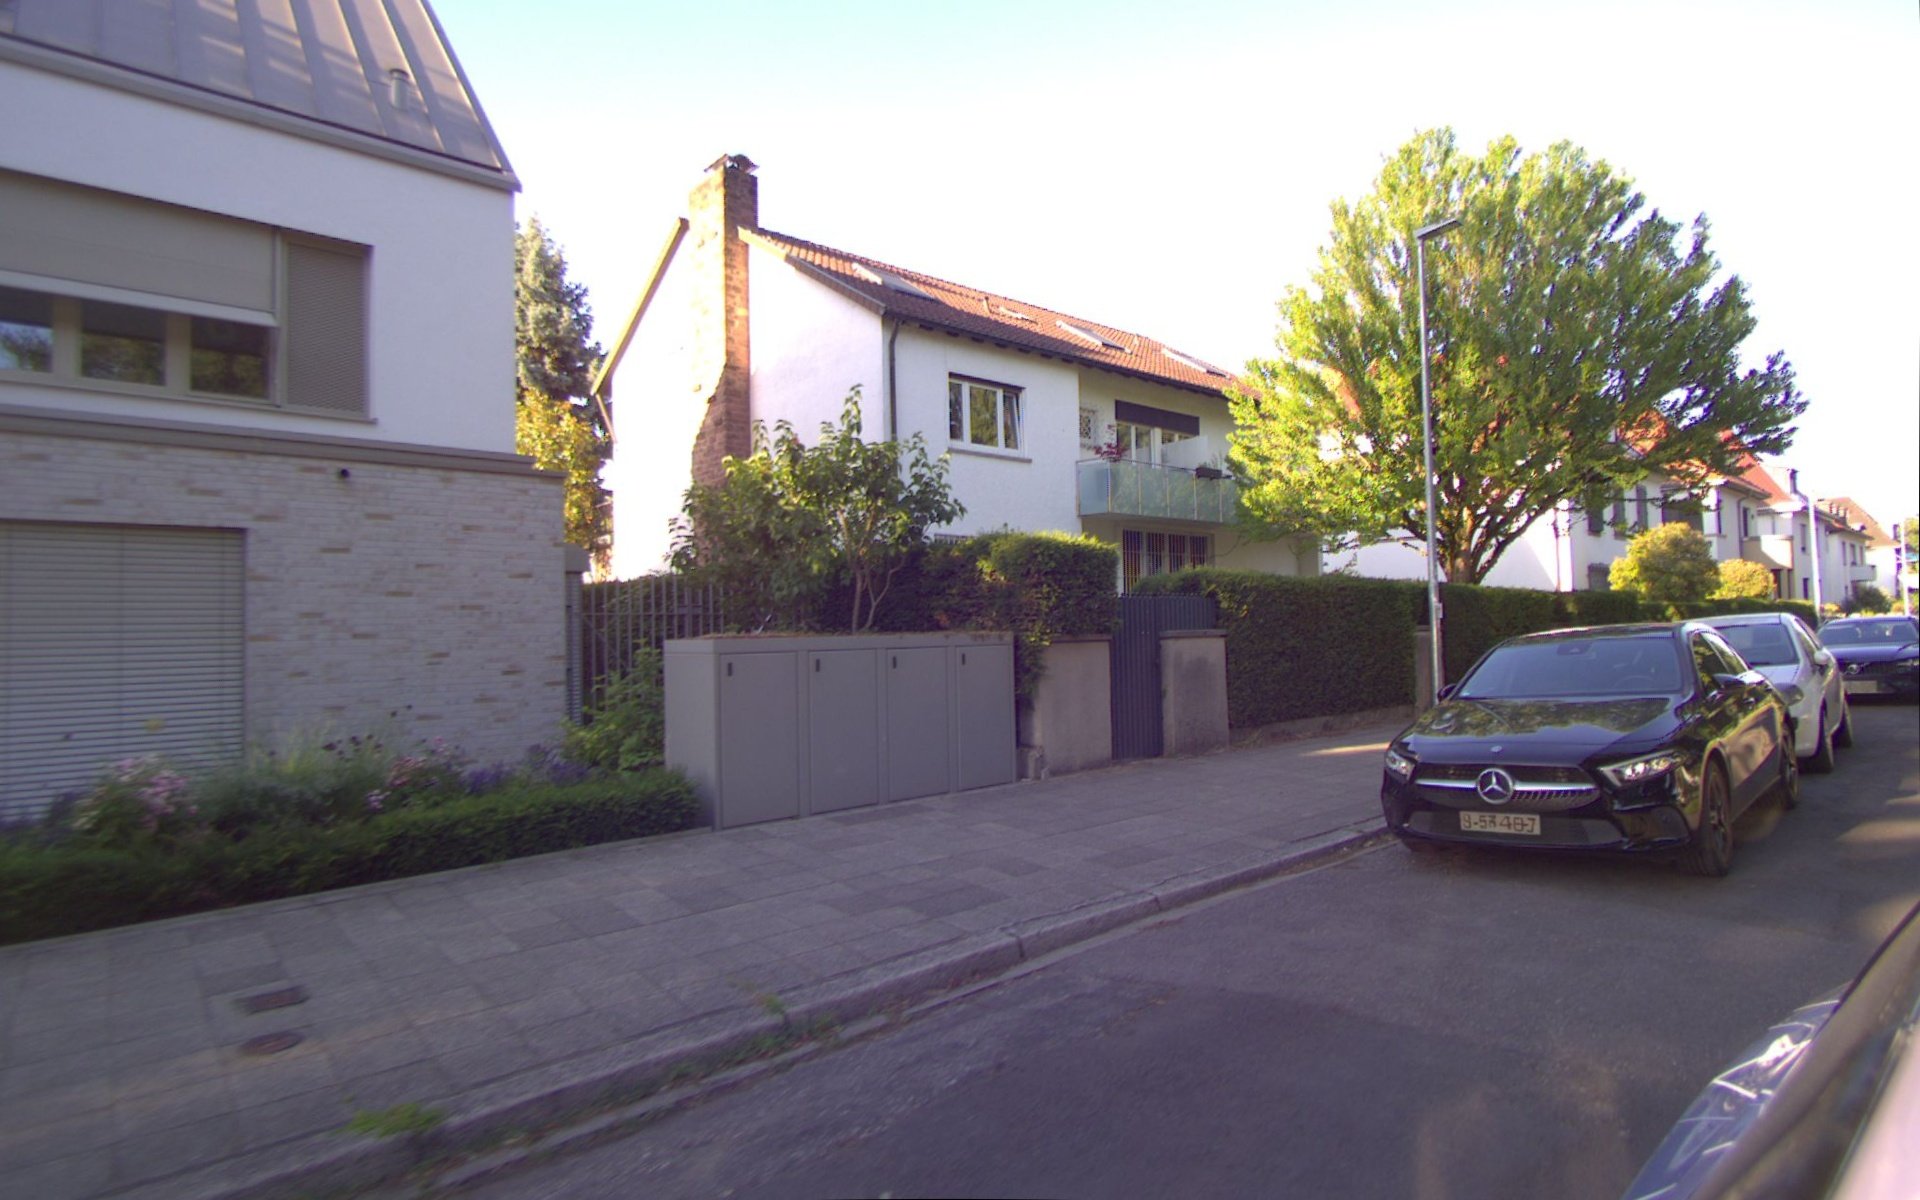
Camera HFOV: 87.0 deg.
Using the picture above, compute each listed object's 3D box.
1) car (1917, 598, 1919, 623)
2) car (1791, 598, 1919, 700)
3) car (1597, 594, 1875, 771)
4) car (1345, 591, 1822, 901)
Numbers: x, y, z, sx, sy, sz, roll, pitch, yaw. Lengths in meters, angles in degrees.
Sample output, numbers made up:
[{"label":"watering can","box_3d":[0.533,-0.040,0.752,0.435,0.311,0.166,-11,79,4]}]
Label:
[{"label":"car","box_3d":[77.785,0.771,79.220,1.967,1.953,3.989,1,-3,-44]},{"label":"car","box_3d":[15.679,0.758,17.088,4.593,1.511,1.795,0,-3,-42]},{"label":"car","box_3d":[8.210,0.808,10.582,3.865,1.503,1.690,1,-7,-45]},{"label":"car","box_3d":[4.516,0.785,7.032,4.216,1.496,1.749,1,-5,-44]}]
